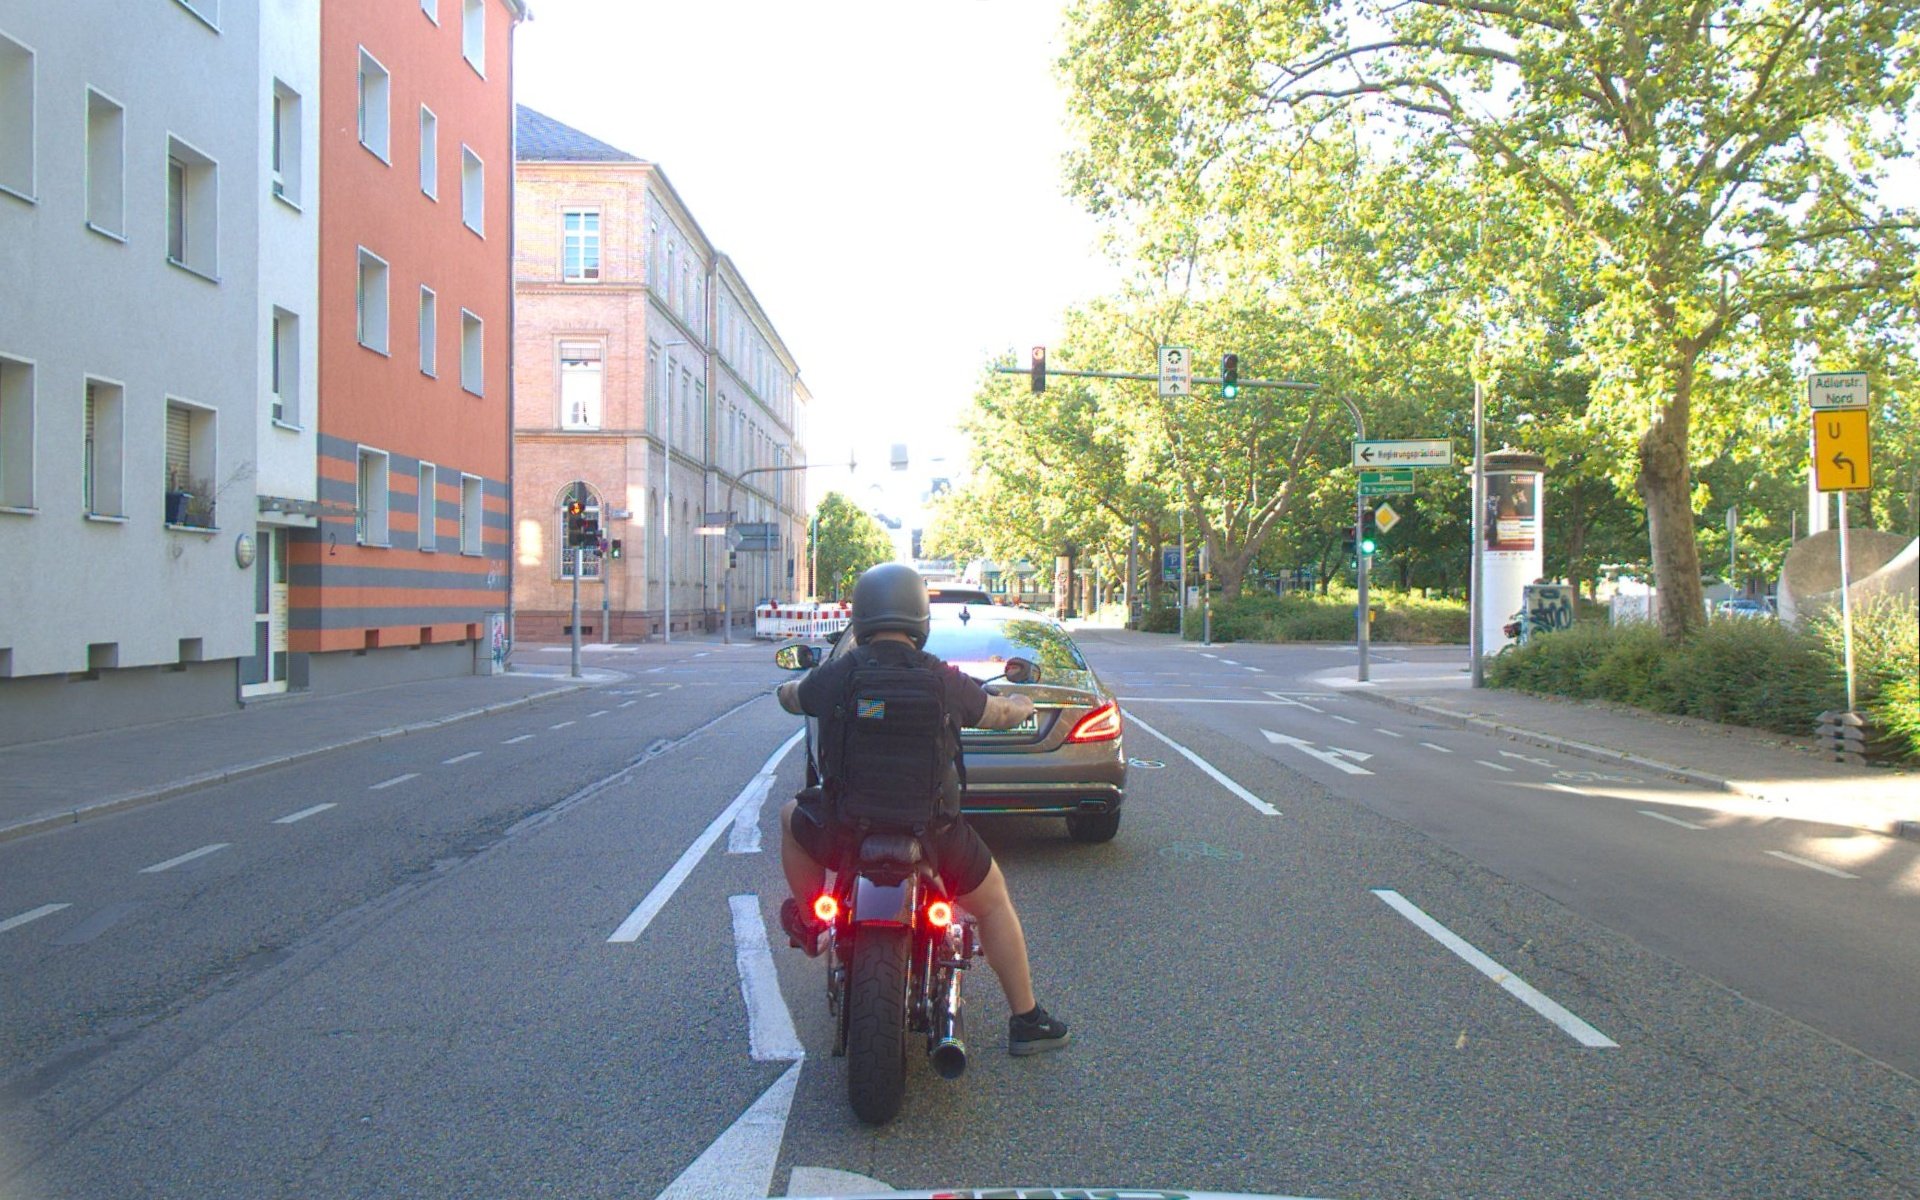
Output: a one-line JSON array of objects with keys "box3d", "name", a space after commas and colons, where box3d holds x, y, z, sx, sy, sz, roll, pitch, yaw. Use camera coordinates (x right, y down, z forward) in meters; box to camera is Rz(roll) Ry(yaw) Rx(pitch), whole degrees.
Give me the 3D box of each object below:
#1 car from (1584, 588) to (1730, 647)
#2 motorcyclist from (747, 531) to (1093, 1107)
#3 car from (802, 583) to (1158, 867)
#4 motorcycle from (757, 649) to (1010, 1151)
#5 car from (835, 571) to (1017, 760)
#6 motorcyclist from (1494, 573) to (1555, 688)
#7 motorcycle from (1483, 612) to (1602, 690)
[{"box3d": [21.993, 0.545, 52.279, 3.907, 1.803, 1.737, 0, 0, -3], "name": "car"}, {"box3d": [-0.121, 0.632, 5.311, 0.970, 1.639, 1.120, 1, 0, -1], "name": "motorcyclist"}, {"box3d": [-0.083, 0.687, 11.110, 1.790, 1.512, 4.326, 1, 0, -7], "name": "car"}, {"box3d": [-0.217, 0.824, 5.400, 0.646, 1.261, 2.057, 1, 0, -1], "name": "motorcycle"}, {"box3d": [-0.329, 0.604, 16.953, 1.618, 1.681, 3.999, 1, 0, -1], "name": "car"}, {"box3d": [9.486, 0.510, 27.819, 0.805, 1.896, 0.672, 1, -1, 4], "name": "motorcyclist"}, {"box3d": [9.778, 0.841, 27.808, 1.743, 1.265, 0.723, 1, 0, 4], "name": "motorcycle"}]
